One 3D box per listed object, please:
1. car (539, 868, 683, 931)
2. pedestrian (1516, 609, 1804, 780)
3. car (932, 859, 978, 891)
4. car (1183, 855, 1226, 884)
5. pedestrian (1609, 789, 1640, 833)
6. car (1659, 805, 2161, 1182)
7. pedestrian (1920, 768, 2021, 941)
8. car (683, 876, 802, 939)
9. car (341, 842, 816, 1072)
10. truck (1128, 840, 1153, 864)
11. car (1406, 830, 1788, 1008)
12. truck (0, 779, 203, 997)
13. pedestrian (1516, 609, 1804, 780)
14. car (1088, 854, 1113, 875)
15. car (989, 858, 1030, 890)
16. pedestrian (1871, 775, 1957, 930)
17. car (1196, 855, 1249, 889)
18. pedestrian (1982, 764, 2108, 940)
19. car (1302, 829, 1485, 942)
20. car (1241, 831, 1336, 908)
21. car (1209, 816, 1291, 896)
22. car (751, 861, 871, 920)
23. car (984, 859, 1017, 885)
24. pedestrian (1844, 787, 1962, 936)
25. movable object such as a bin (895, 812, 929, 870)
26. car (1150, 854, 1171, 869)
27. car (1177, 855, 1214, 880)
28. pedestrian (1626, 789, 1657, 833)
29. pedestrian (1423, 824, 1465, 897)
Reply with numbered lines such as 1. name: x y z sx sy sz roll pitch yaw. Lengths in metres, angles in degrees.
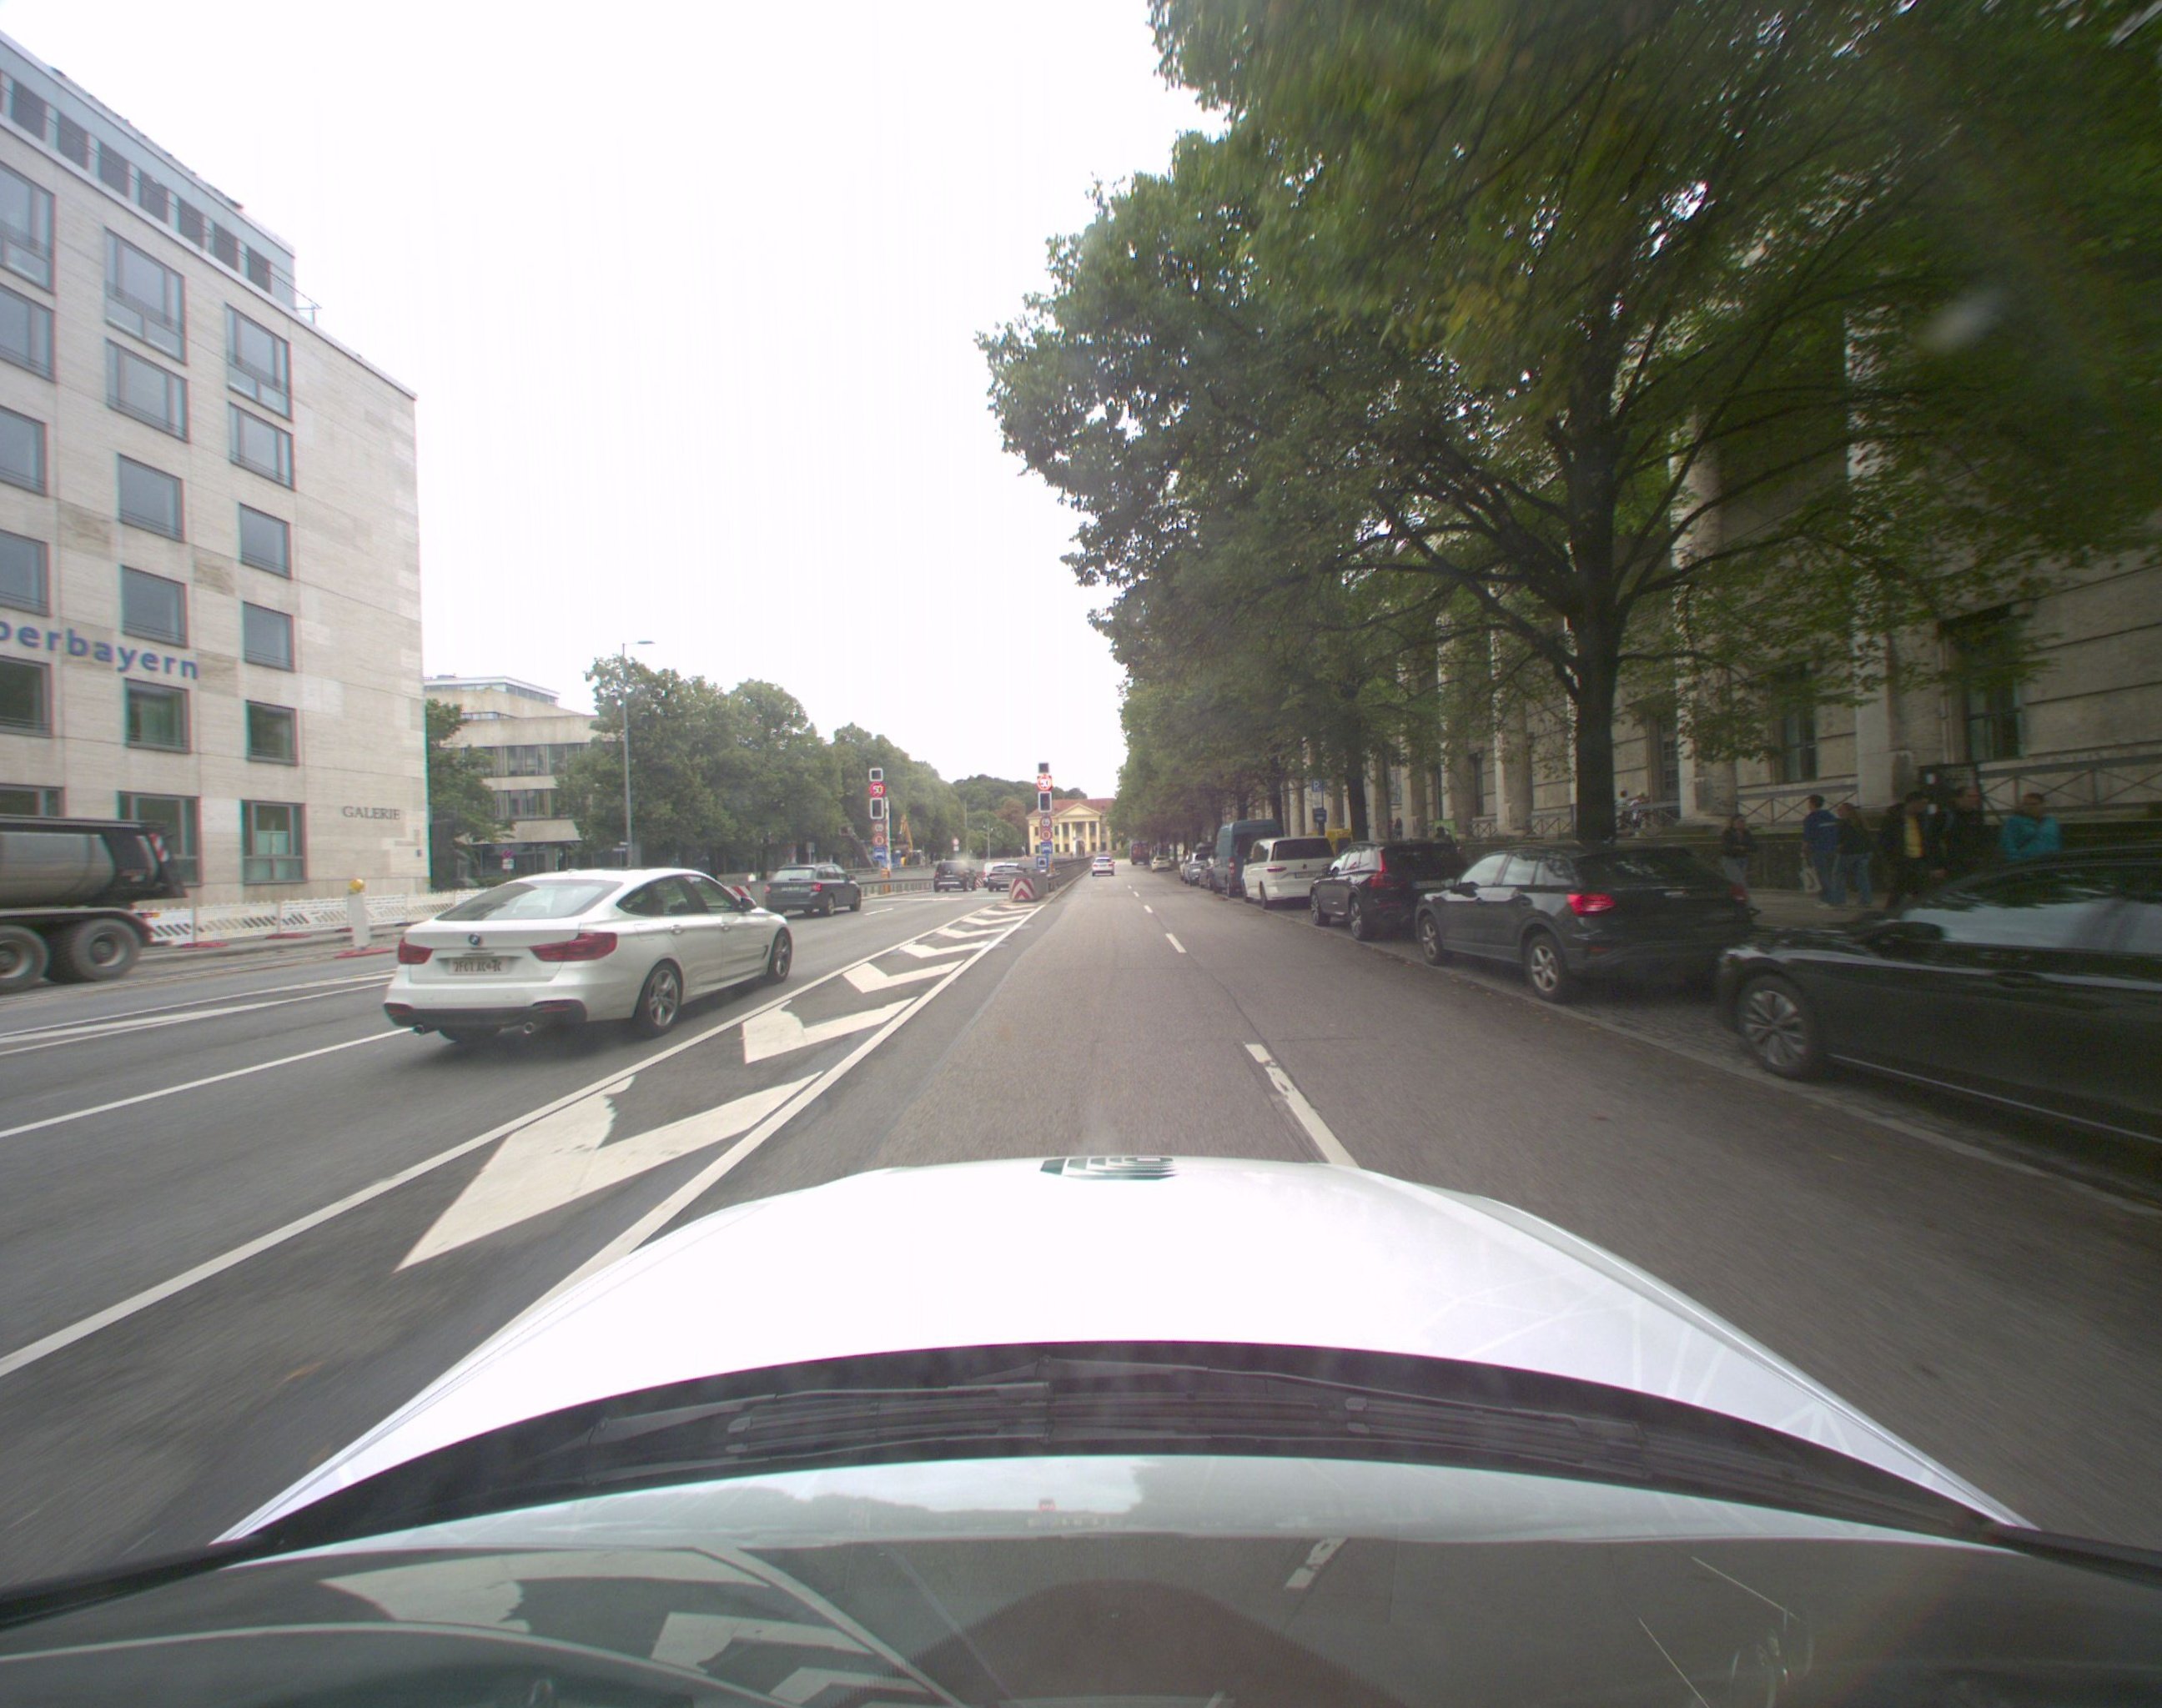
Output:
1. car: -14.001 1.294 24.562 1.988 1.596 3.998 -3 0 -1
2. pedestrian: 9.200 -2.416 13.442 1.986 2.013 4.002 -1 0 2
3. car: -6.815 1.100 44.481 1.716 1.636 4.206 -2 0 1
4. car: 6.242 0.757 41.509 1.717 1.324 4.030 -3 0 3
5. pedestrian: 17.602 -1.393 26.373 0.564 1.373 0.646 -1 0 2
6. car: 5.054 0.506 3.613 1.717 1.464 4.779 -3 0 3
7. pedestrian: 10.183 0.006 9.345 0.524 1.910 0.655 -1 0 21
8. car: -10.356 1.582 25.257 1.988 1.596 3.998 -3 0 -1
9. car: -4.548 0.776 8.556 1.787 1.636 5.026 -2 0 0
10. truck: 8.645 -0.258 118.808 3.312 3.367 8.667 -1 0 2
11. car: 5.290 0.569 9.104 1.815 1.464 4.030 -3 0 3
12. truck: -17.973 0.539 11.197 2.836 3.357 8.749 -1 0 -5
13. pedestrian: 9.200 -2.416 13.442 1.986 2.013 4.002 -1 0 2
14. car: 1.545 0.826 65.909 1.775 1.644 3.995 -1 0 -3
15. car: -3.715 1.034 42.933 1.704 1.552 4.001 -1 0 1
16. pedestrian: 10.636 -0.016 10.424 0.524 1.910 0.655 -1 0 21
17. car: 6.142 0.746 35.714 1.717 1.364 4.030 -3 0 3
18. pedestrian: 10.905 -0.019 9.239 0.682 1.910 0.655 -1 0 23
19. car: 5.444 0.483 14.869 1.717 1.665 4.593 -3 0 3
20. car: 5.666 0.389 22.662 1.717 1.867 4.030 -3 0 3
21. car: 5.997 0.066 29.548 1.987 2.643 4.878 -1 0 1
22. car: -7.577 0.967 23.337 1.785 1.447 4.278 -2 0 3
23. car: -6.114 1.365 62.464 1.891 1.847 4.957 -2 0 1
24. pedestrian: 10.944 0.102 10.870 0.776 1.910 0.771 -1 0 2
25. movable object such as a bin: -19.547 -1.440 94.405 2.689 6.510 5.179 -1 0 2
26. car: 7.454 0.710 76.280 1.717 1.324 4.030 -3 0 3
27. car: 6.629 0.744 47.581 1.717 1.324 4.030 -3 0 3
28. pedestrian: 18.371 -1.404 26.720 0.564 1.373 0.646 -1 0 2
29. pedestrian: 9.640 0.173 21.633 0.776 1.910 0.771 -1 0 2
